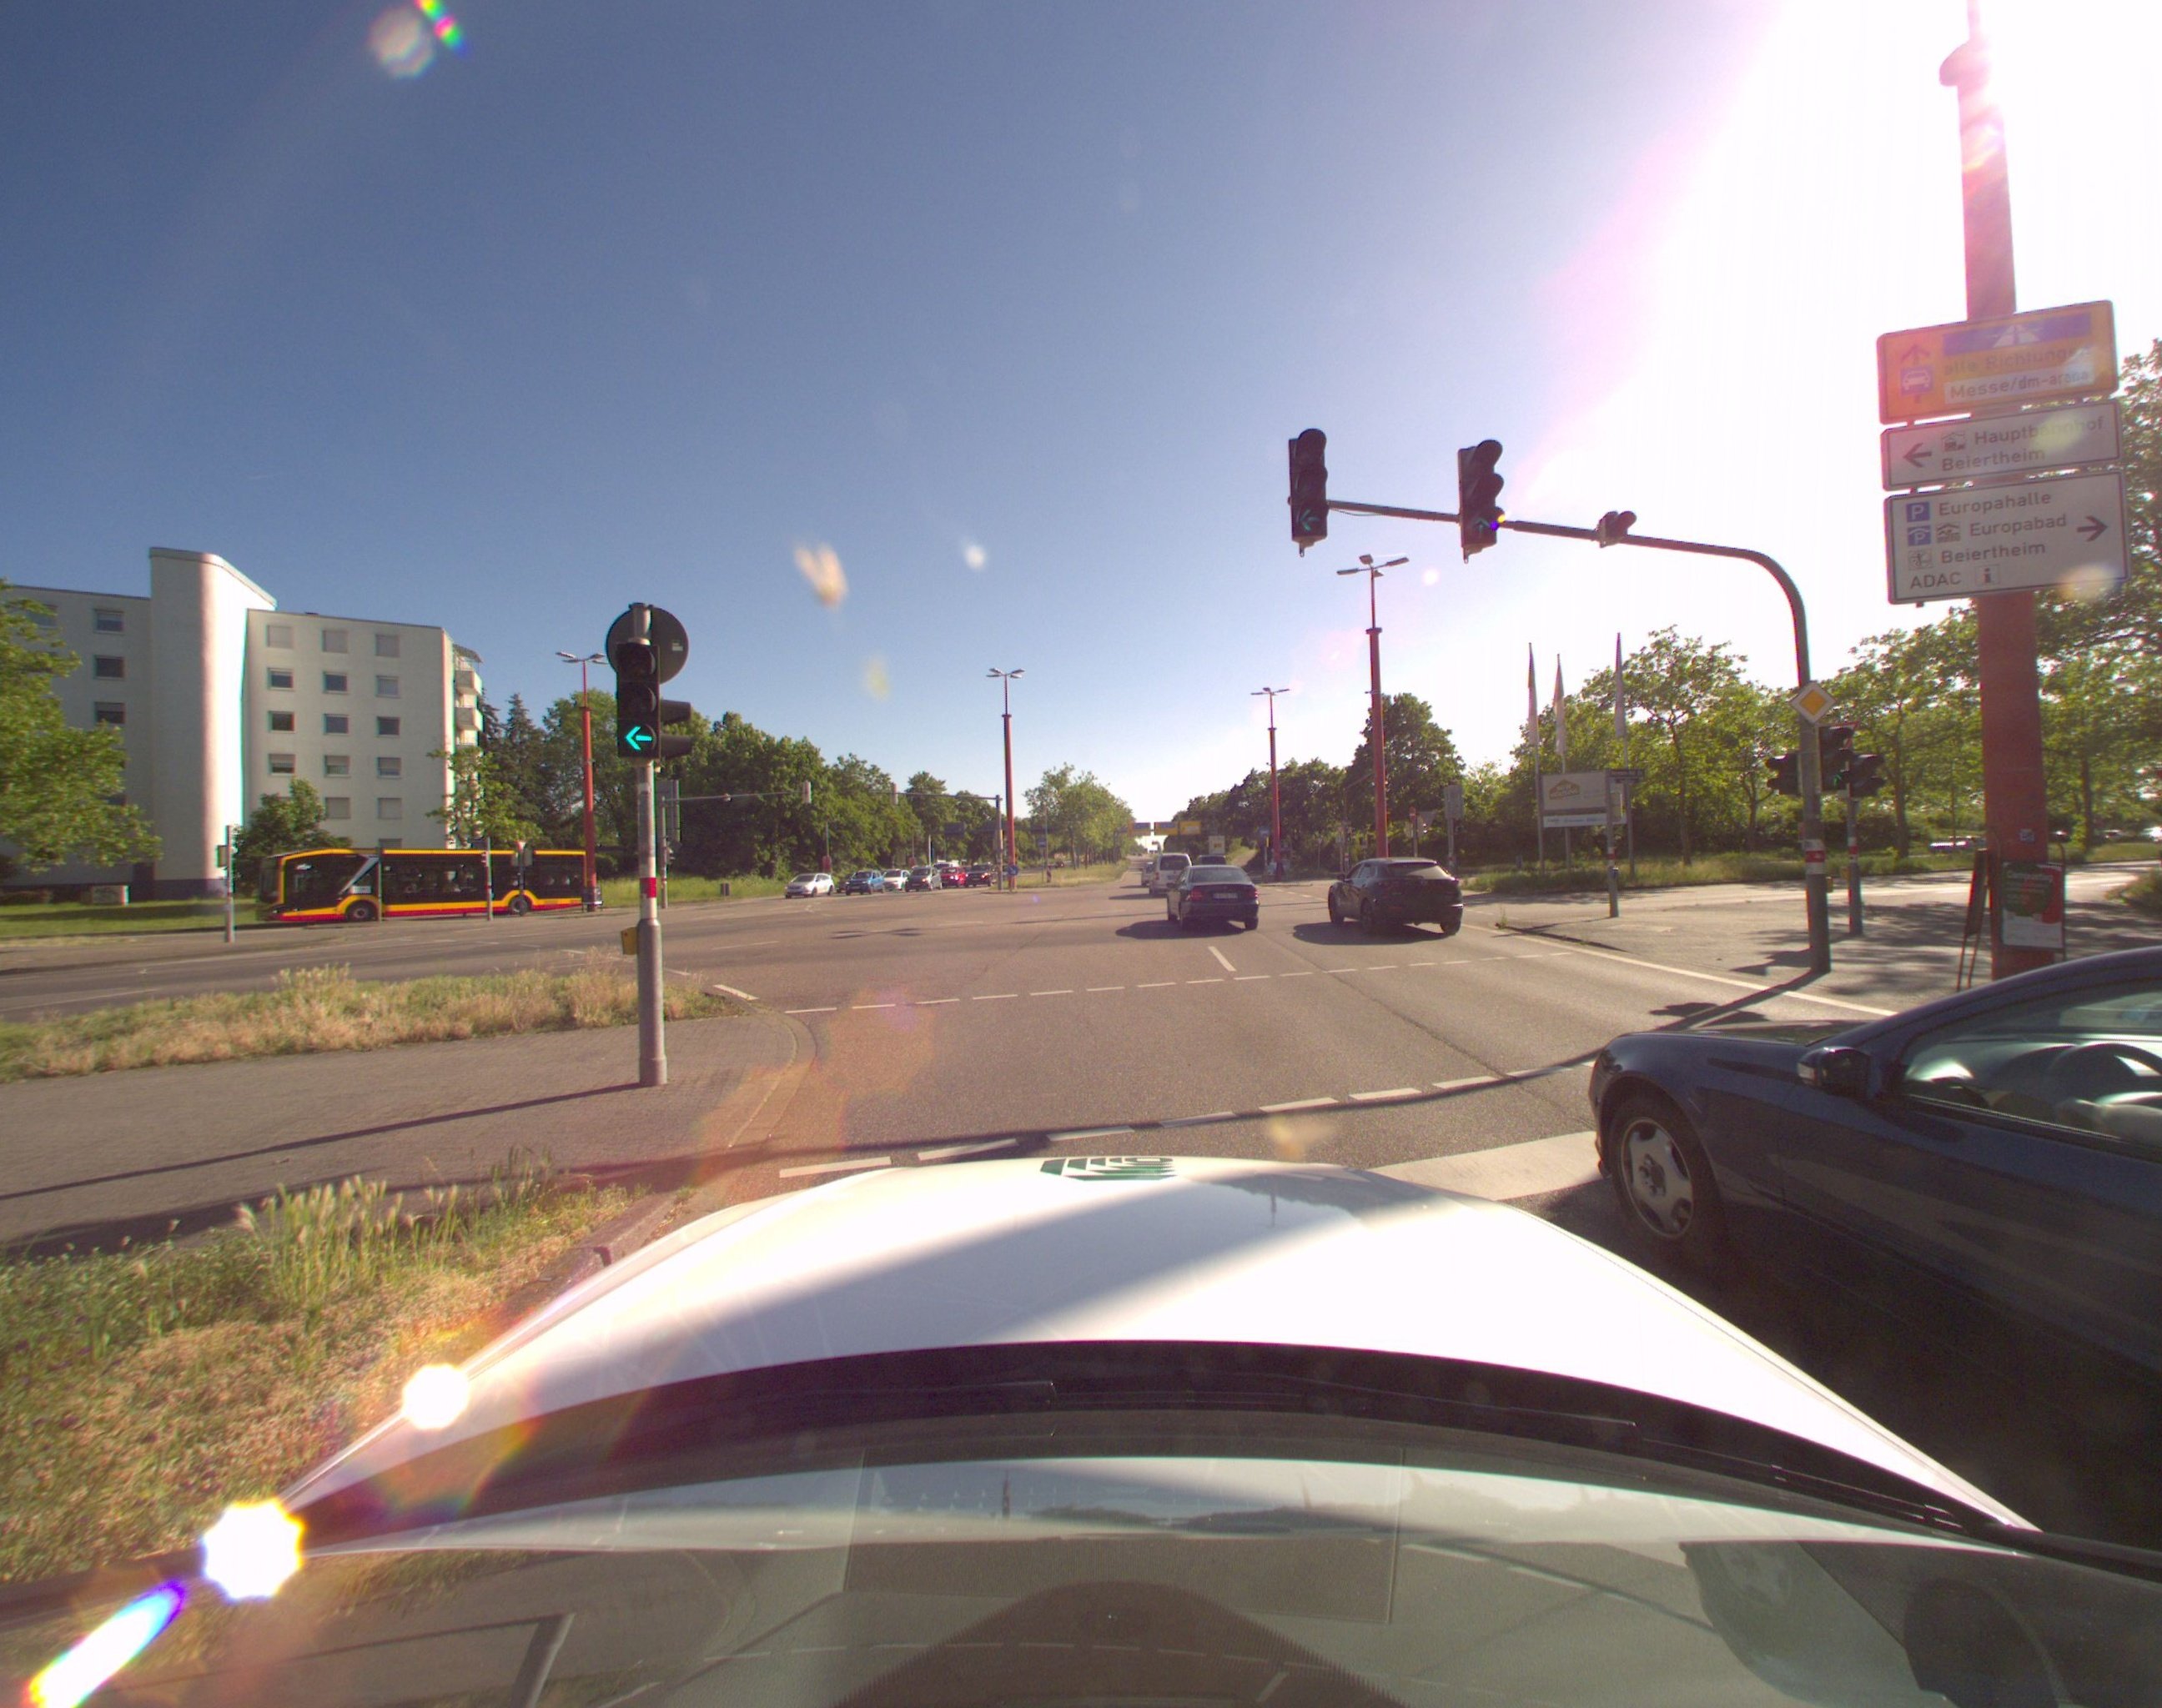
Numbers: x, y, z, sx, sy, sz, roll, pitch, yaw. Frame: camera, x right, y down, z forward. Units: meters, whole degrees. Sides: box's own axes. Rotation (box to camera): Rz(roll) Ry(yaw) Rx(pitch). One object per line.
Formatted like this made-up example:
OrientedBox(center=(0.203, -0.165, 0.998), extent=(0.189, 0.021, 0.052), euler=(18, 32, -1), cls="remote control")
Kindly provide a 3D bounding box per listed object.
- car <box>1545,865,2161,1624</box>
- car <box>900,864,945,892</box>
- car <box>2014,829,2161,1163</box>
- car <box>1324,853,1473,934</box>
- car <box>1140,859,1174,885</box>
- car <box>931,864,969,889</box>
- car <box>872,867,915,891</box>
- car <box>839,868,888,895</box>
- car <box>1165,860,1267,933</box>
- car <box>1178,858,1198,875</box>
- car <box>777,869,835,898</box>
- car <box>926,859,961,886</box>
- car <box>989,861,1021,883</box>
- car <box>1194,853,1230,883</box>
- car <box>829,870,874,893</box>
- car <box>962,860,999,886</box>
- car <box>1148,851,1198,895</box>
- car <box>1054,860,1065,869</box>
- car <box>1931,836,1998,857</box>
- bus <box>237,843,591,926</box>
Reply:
OrientedBox(center=(2.943, 0.764, 1.740), extent=(1.711, 1.420, 4.052), euler=(-1, -1, 3), cls="car")
OrientedBox(center=(-10.054, 1.480, 51.879), extent=(1.867, 1.550, 4.030), euler=(-3, 0, 2), cls="car")
OrientedBox(center=(5.680, 0.630, 2.195), extent=(1.714, 1.517, 4.140), euler=(0, 0, 3), cls="car")
OrientedBox(center=(6.603, 0.783, 17.460), extent=(1.760, 1.508, 4.229), euler=(0, -1, 3), cls="car")
OrientedBox(center=(4.527, 1.089, 49.059), extent=(1.797, 1.493, 4.684), euler=(0, -1, 2), cls="car")
OrientedBox(center=(-9.347, 1.575, 58.198), extent=(1.868, 1.552, 4.001), euler=(-5, -1, 1), cls="car")
OrientedBox(center=(-13.069, 1.728, 56.982), extent=(1.894, 1.555, 4.001), euler=(-3, -1, 1), cls="car")
OrientedBox(center=(-13.508, 1.678, 50.840), extent=(1.794, 1.515, 3.861), euler=(-3, -1, 3), cls="car")
OrientedBox(center=(3.040, 0.897, 19.113), extent=(1.707, 1.454, 4.198), euler=(-2, 0, 1), cls="car")
OrientedBox(center=(10.749, 1.261, 81.994), extent=(1.709, 1.608, 3.850), euler=(0, -1, 3), cls="car")
OrientedBox(center=(-17.016, 1.813, 50.683), extent=(1.869, 1.652, 4.223), euler=(-3, -1, 4), cls="car")
OrientedBox(center=(-11.851, 1.547, 70.511), extent=(1.954, 2.155, 5.084), euler=(-2, -1, 2), cls="car")
OrientedBox(center=(-5.896, 1.354, 63.302), extent=(1.878, 1.543, 4.002), euler=(-3, -1, 2), cls="car")
OrientedBox(center=(8.689, 0.937, 54.462), extent=(1.797, 1.852, 5.107), euler=(-2, -1, 3), cls="car")
OrientedBox(center=(-16.815, 1.965, 59.945), extent=(1.877, 1.513, 4.004), euler=(-3, -1, 3), cls="car")
OrientedBox(center=(-6.838, 1.290, 55.848), extent=(1.787, 1.626, 4.145), euler=(-3, -1, 2), cls="car")
OrientedBox(center=(4.042, 0.838, 36.408), extent=(1.798, 1.821, 4.588), euler=(-1, -1, 2), cls="car")
OrientedBox(center=(-4.482, 2.117, 168.282), extent=(1.907, 1.846, 3.963), euler=(-2, -1, 3), cls="car")
OrientedBox(center=(65.272, -0.546, 60.154), extent=(4.137, 1.517, 1.854), euler=(0, -1, -20), cls="car")
OrientedBox(center=(-30.209, 1.296, 38.114), extent=(2.620, 3.261, 12.614), euler=(-1, -1, 32), cls="bus")
